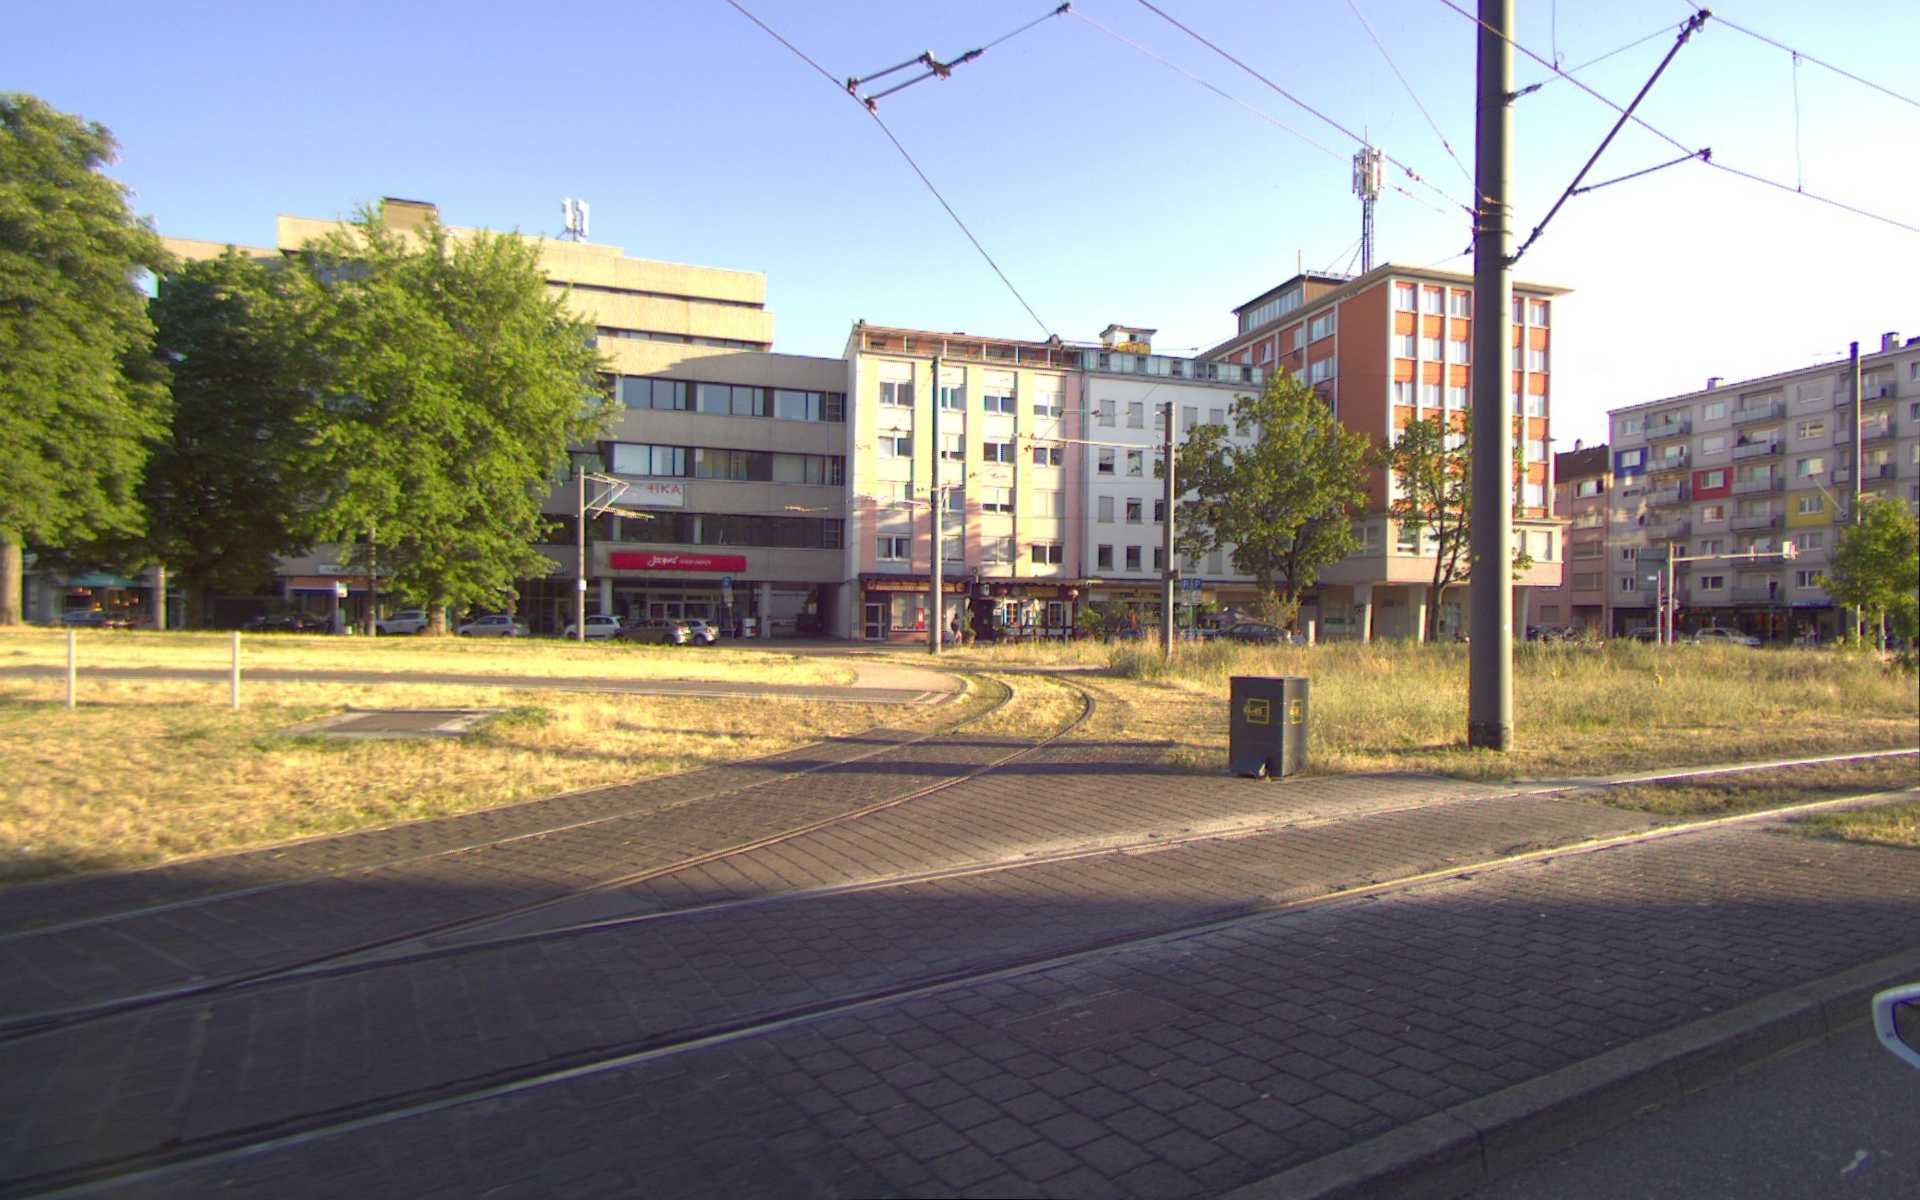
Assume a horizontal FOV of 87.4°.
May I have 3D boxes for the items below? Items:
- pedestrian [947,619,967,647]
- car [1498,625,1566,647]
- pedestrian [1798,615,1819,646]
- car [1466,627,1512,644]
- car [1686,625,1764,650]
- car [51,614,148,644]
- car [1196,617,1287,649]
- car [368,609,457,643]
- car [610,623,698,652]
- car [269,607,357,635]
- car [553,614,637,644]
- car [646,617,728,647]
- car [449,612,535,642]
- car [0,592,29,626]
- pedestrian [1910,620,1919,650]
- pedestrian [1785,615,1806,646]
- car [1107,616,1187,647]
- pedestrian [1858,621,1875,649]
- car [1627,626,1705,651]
[{"bbox_3d":[-0.161,1.849,56.854,0.840,1.548,1.117,0,-1,-19],"label":"pedestrian"},{"bbox_3d":[44.031,2.776,77.456,1.959,1.606,4.272,0,-1,-22],"label":"car"},{"bbox_3d":[51.791,1.885,61.302,0.809,1.872,0.602,0,-1,-17],"label":"pedestrian"},{"bbox_3d":[52.615,3.474,100.018,1.777,1.606,3.858,0,-1,-22],"label":"car"},{"bbox_3d":[52.175,2.540,68.582,1.777,1.606,3.858,0,-1,-22],"label":"car"},{"bbox_3d":[-47.926,1.613,55.991,3.986,1.577,1.867,-1,-1,6],"label":"car"},{"bbox_3d":[14.271,1.688,51.174,4.205,1.547,1.761,-1,-1,6],"label":"car"},{"bbox_3d":[-30.840,1.471,56.682,4.124,1.818,1.761,-1,-1,6],"label":"car"},{"bbox_3d":[-15.561,1.886,51.141,3.919,1.408,1.712,-1,-1,7],"label":"car"},{"bbox_3d":[-37.323,1.217,58.004,3.986,1.577,1.867,-1,-1,6],"label":"car"},{"bbox_3d":[-19.993,1.591,55.113,3.919,1.572,1.761,-1,-1,6],"label":"car"},{"bbox_3d":[-14.771,1.717,54.400,3.919,1.572,1.761,-1,-1,9],"label":"car"},{"bbox_3d":[-25.924,1.496,55.702,3.919,1.572,1.761,-1,-1,6],"label":"car"},{"bbox_3d":[-58.602,0.573,60.251,4.124,1.970,1.761,-1,-1,6],"label":"car"},{"bbox_3d":[55.884,2.018,58.268,0.768,1.692,0.741,-1,-1,-3],"label":"pedestrian"},{"bbox_3d":[51.678,1.893,62.143,0.725,1.876,0.705,0,-1,-16],"label":"pedestrian"},{"bbox_3d":[9.603,1.615,51.911,3.919,1.547,1.761,-1,-1,6],"label":"car"},{"bbox_3d":[53.811,2.073,59.628,0.605,1.651,0.514,0,-1,-16],"label":"pedestrian"},{"bbox_3d":[46.618,2.524,66.401,1.777,1.606,3.858,0,-1,-22],"label":"car"}]
